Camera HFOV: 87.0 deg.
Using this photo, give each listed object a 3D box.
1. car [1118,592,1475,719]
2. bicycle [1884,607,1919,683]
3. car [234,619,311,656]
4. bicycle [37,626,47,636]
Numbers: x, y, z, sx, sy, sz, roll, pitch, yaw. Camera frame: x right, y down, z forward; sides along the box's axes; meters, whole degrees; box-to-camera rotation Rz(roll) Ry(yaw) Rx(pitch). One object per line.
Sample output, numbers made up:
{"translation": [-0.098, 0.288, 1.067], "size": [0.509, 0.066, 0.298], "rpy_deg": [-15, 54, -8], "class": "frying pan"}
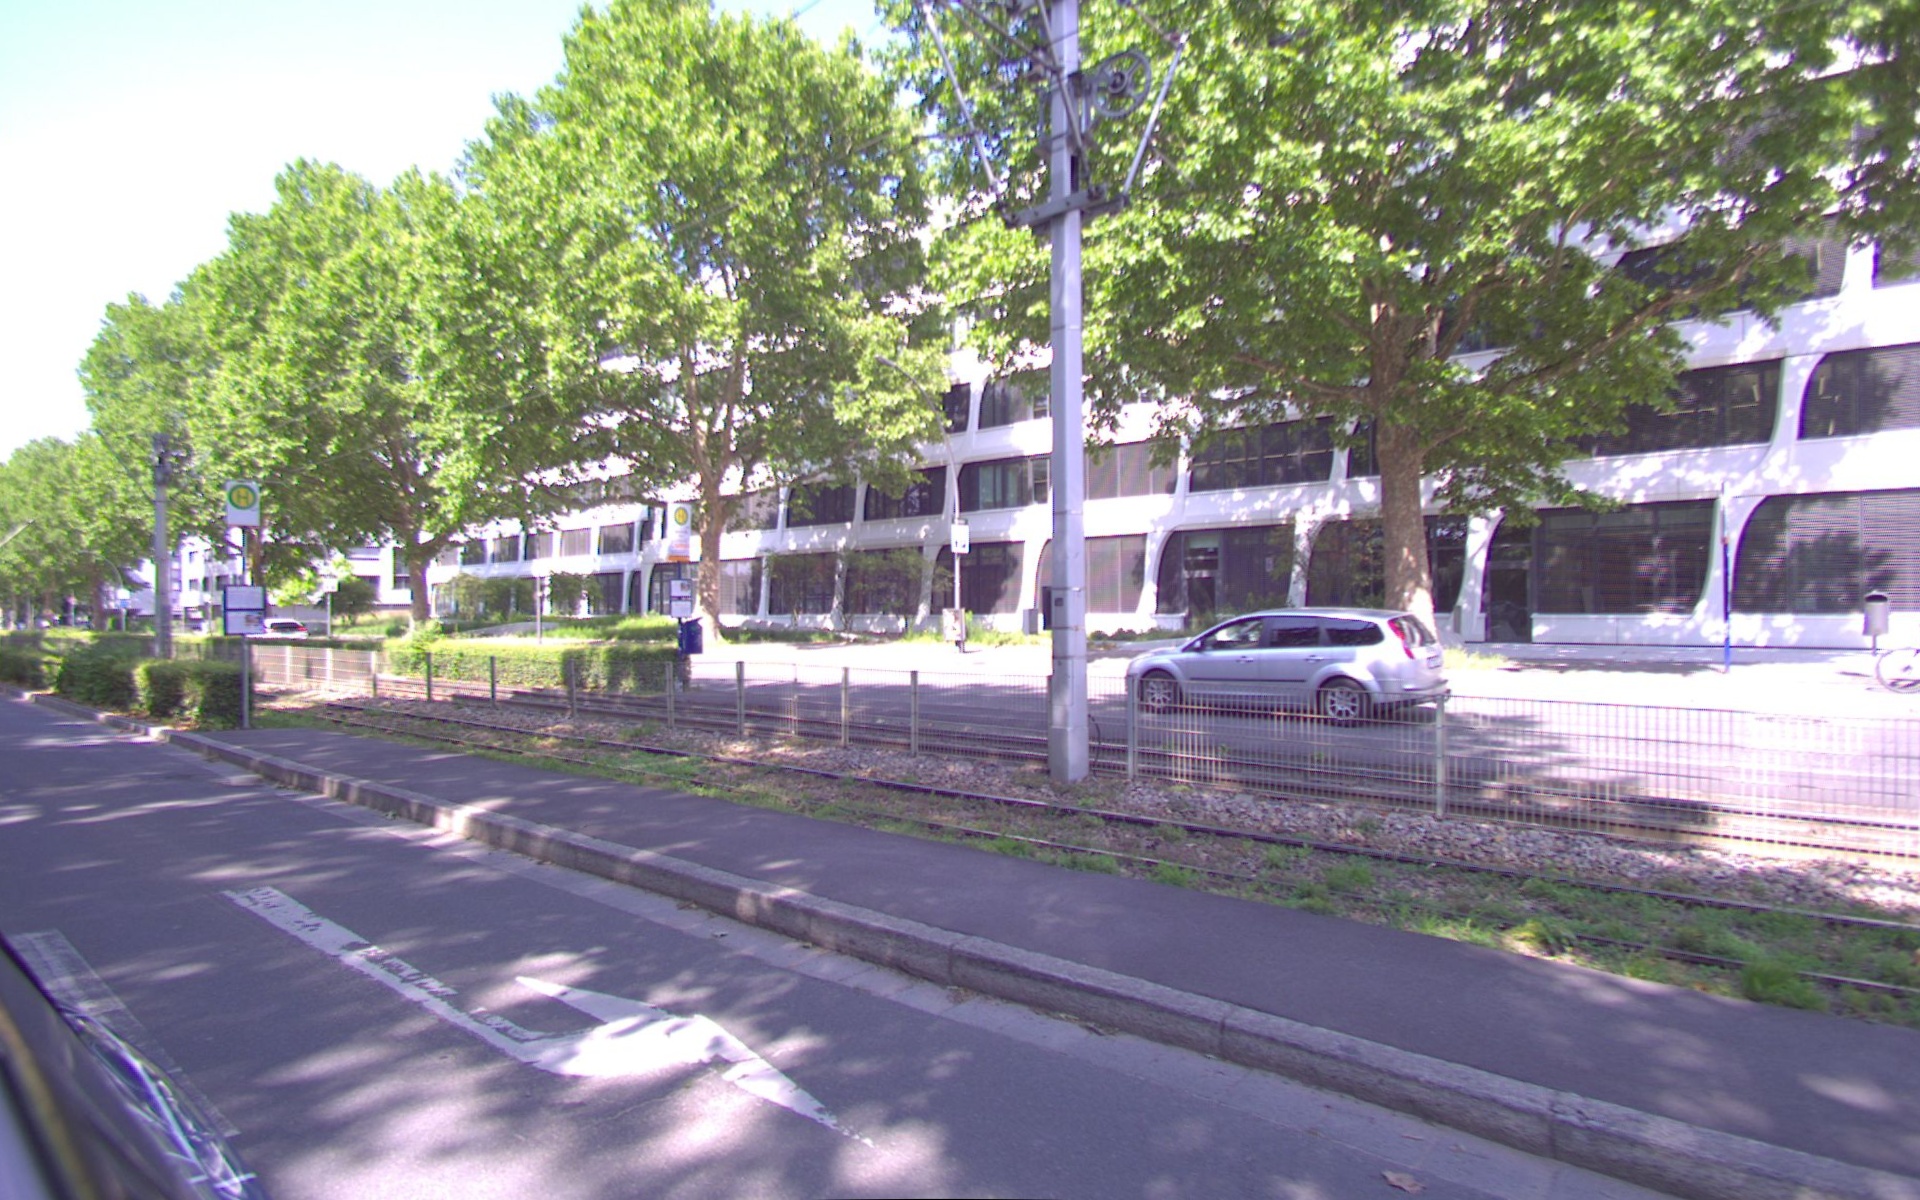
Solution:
{"translation": [4.556, 0.691, 14.116], "size": [4.383, 1.500, 1.778], "rpy_deg": [-1, 0, 41], "class": "car"}
{"translation": [14.788, 0.656, 14.771], "size": [1.883, 1.103, 0.660], "rpy_deg": [-1, 0, 41], "class": "bicycle"}
{"translation": [-31.229, 1.677, 45.925], "size": [4.301, 1.575, 1.792], "rpy_deg": [-1, 0, 40], "class": "car"}
{"translation": [-102.804, 3.439, 113.330], "size": [2.029, 1.133, 0.657], "rpy_deg": [-1, 0, 41], "class": "bicycle"}
